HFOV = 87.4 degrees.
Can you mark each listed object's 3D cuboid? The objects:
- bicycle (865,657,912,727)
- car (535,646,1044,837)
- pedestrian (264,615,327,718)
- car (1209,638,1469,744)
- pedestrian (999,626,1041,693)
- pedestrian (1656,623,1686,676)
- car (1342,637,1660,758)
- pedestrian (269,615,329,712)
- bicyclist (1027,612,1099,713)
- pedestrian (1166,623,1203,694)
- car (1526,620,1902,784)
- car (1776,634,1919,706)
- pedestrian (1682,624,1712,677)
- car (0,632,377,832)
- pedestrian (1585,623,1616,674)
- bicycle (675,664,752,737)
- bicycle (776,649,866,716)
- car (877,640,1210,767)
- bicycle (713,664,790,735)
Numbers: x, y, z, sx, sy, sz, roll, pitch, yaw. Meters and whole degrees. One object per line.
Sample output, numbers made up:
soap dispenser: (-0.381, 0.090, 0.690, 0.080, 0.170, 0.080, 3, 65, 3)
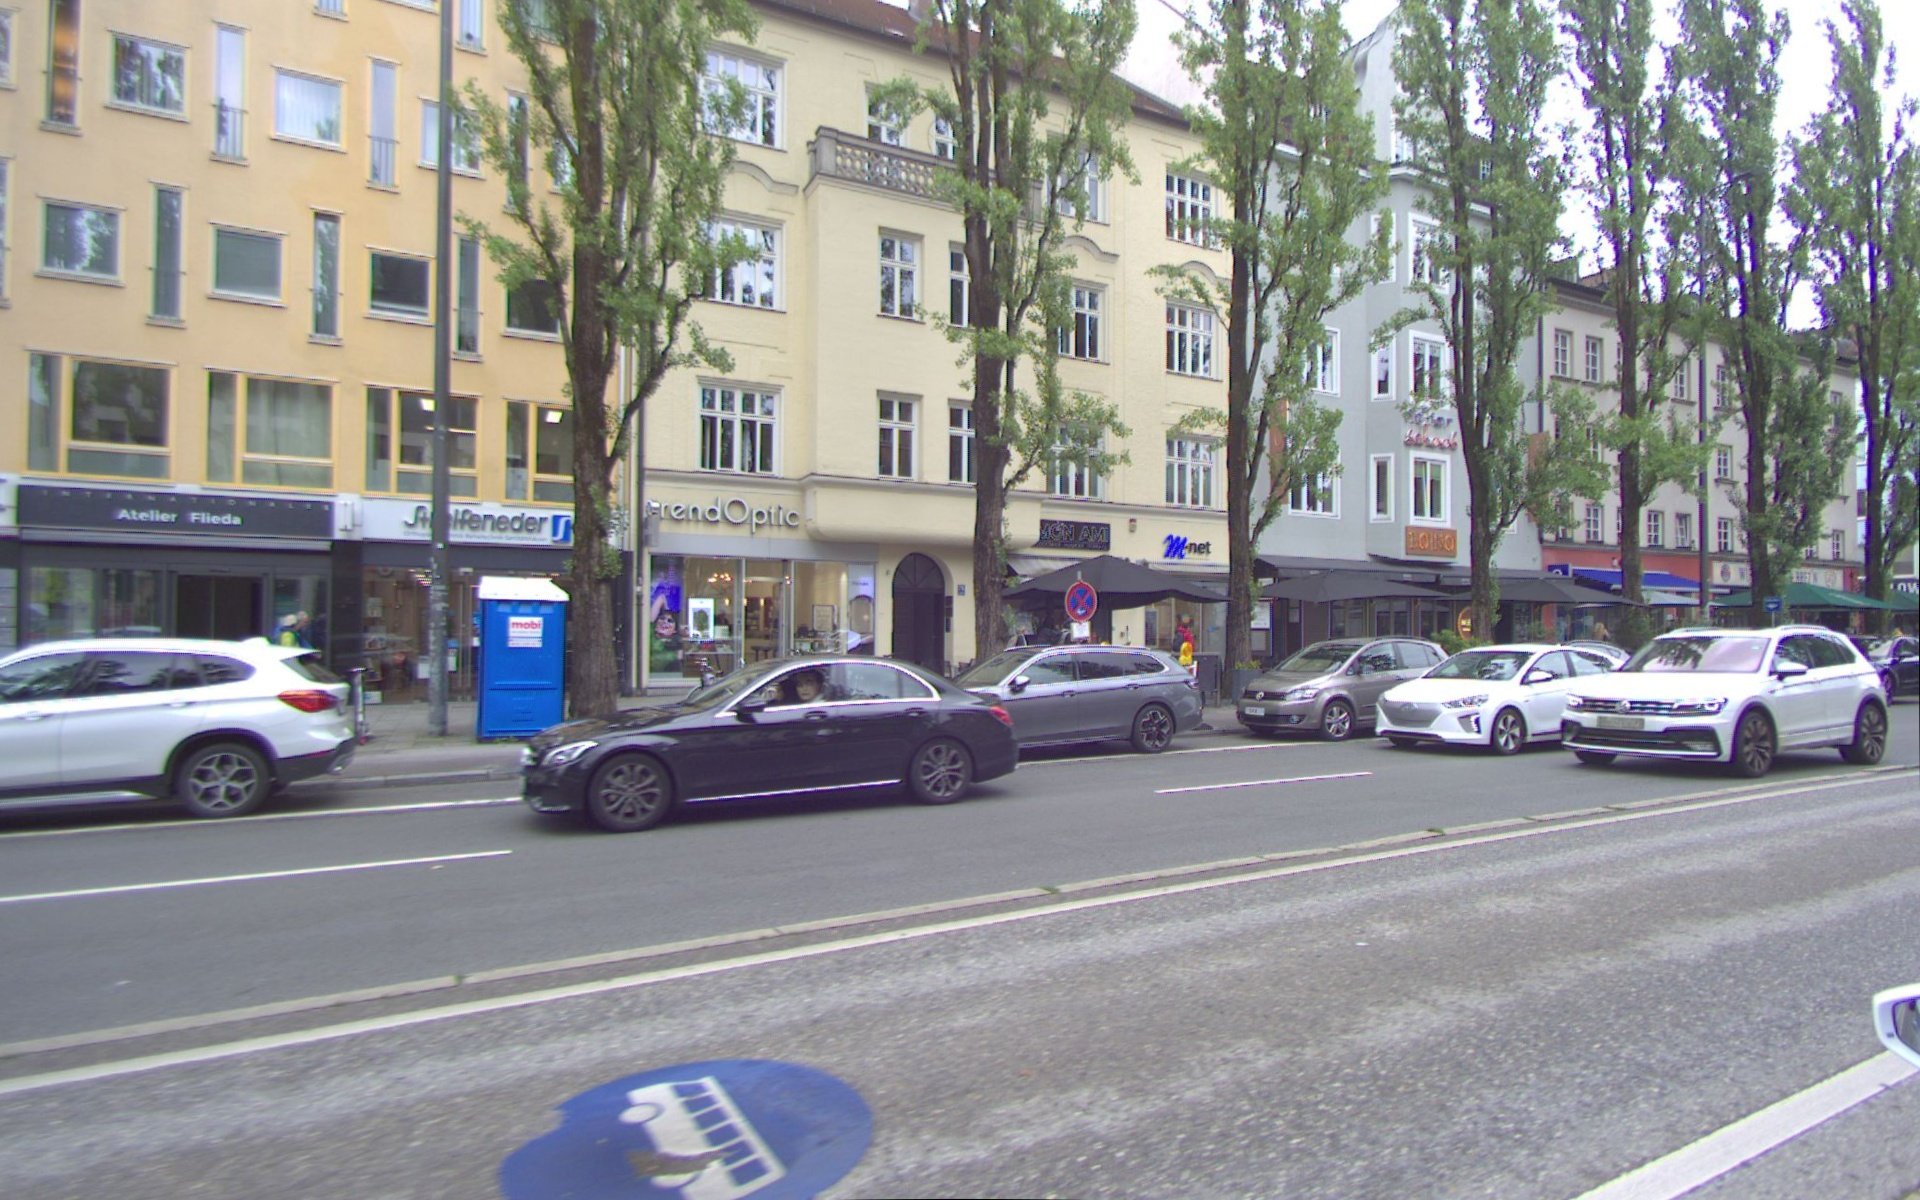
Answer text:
bicycle: (-1.269, 1.570, 17.504, 0.496, 1.115, 2.127, 0, -3, -13)
car: (-1.599, 1.181, 9.668, 4.480, 1.453, 1.933, 1, -3, -27)
pedestrian: (-11.117, 1.094, 16.829, 0.754, 1.647, 0.836, 2, -1, -29)
car: (6.208, 1.405, 16.432, 3.948, 1.539, 1.799, 1, -3, -27)
pedestrian: (1.441, 1.420, 24.254, 0.805, 1.582, 0.632, 1, -2, -26)
pedestrian: (25.800, 1.797, 36.459, 0.639, 1.886, 0.636, 1, -2, -27)
car: (7.842, 1.302, 14.523, 4.400, 1.513, 1.932, 1, -3, -28)
pedestrian: (-11.578, 1.095, 17.615, 0.754, 1.647, 0.836, 2, -1, -29)
bicyclist: (1.698, 1.017, 16.501, 1.093, 1.601, 0.494, 1, -2, -28)
pedestrian: (5.672, 1.461, 25.373, 0.745, 1.770, 0.537, 1, -1, -27)
car: (9.152, 1.113, 12.156, 4.407, 1.663, 1.932, 1, -3, -28)
car: (21.938, 1.634, 24.238, 4.274, 1.585, 1.843, 0, -2, -26)
pedestrian: (26.290, 1.798, 35.827, 0.639, 1.886, 0.636, 1, -2, -27)
car: (-8.056, 1.133, 9.367, 4.322, 1.650, 1.988, 1, -2, -26)
pedestrian: (21.852, 1.655, 34.275, 0.639, 1.722, 0.636, 1, -2, -27)
bicycle: (-3.924, 1.559, 15.910, 0.617, 1.055, 1.626, 1, -3, -36)
bicycle: (-2.349, 1.345, 16.793, 0.617, 1.055, 1.993, 1, -3, -36)
car: (1.160, 1.322, 13.929, 4.239, 1.513, 1.933, 1, -3, -26)
bicycle: (-3.406, 1.581, 16.320, 0.617, 1.055, 1.626, 1, -3, -36)
